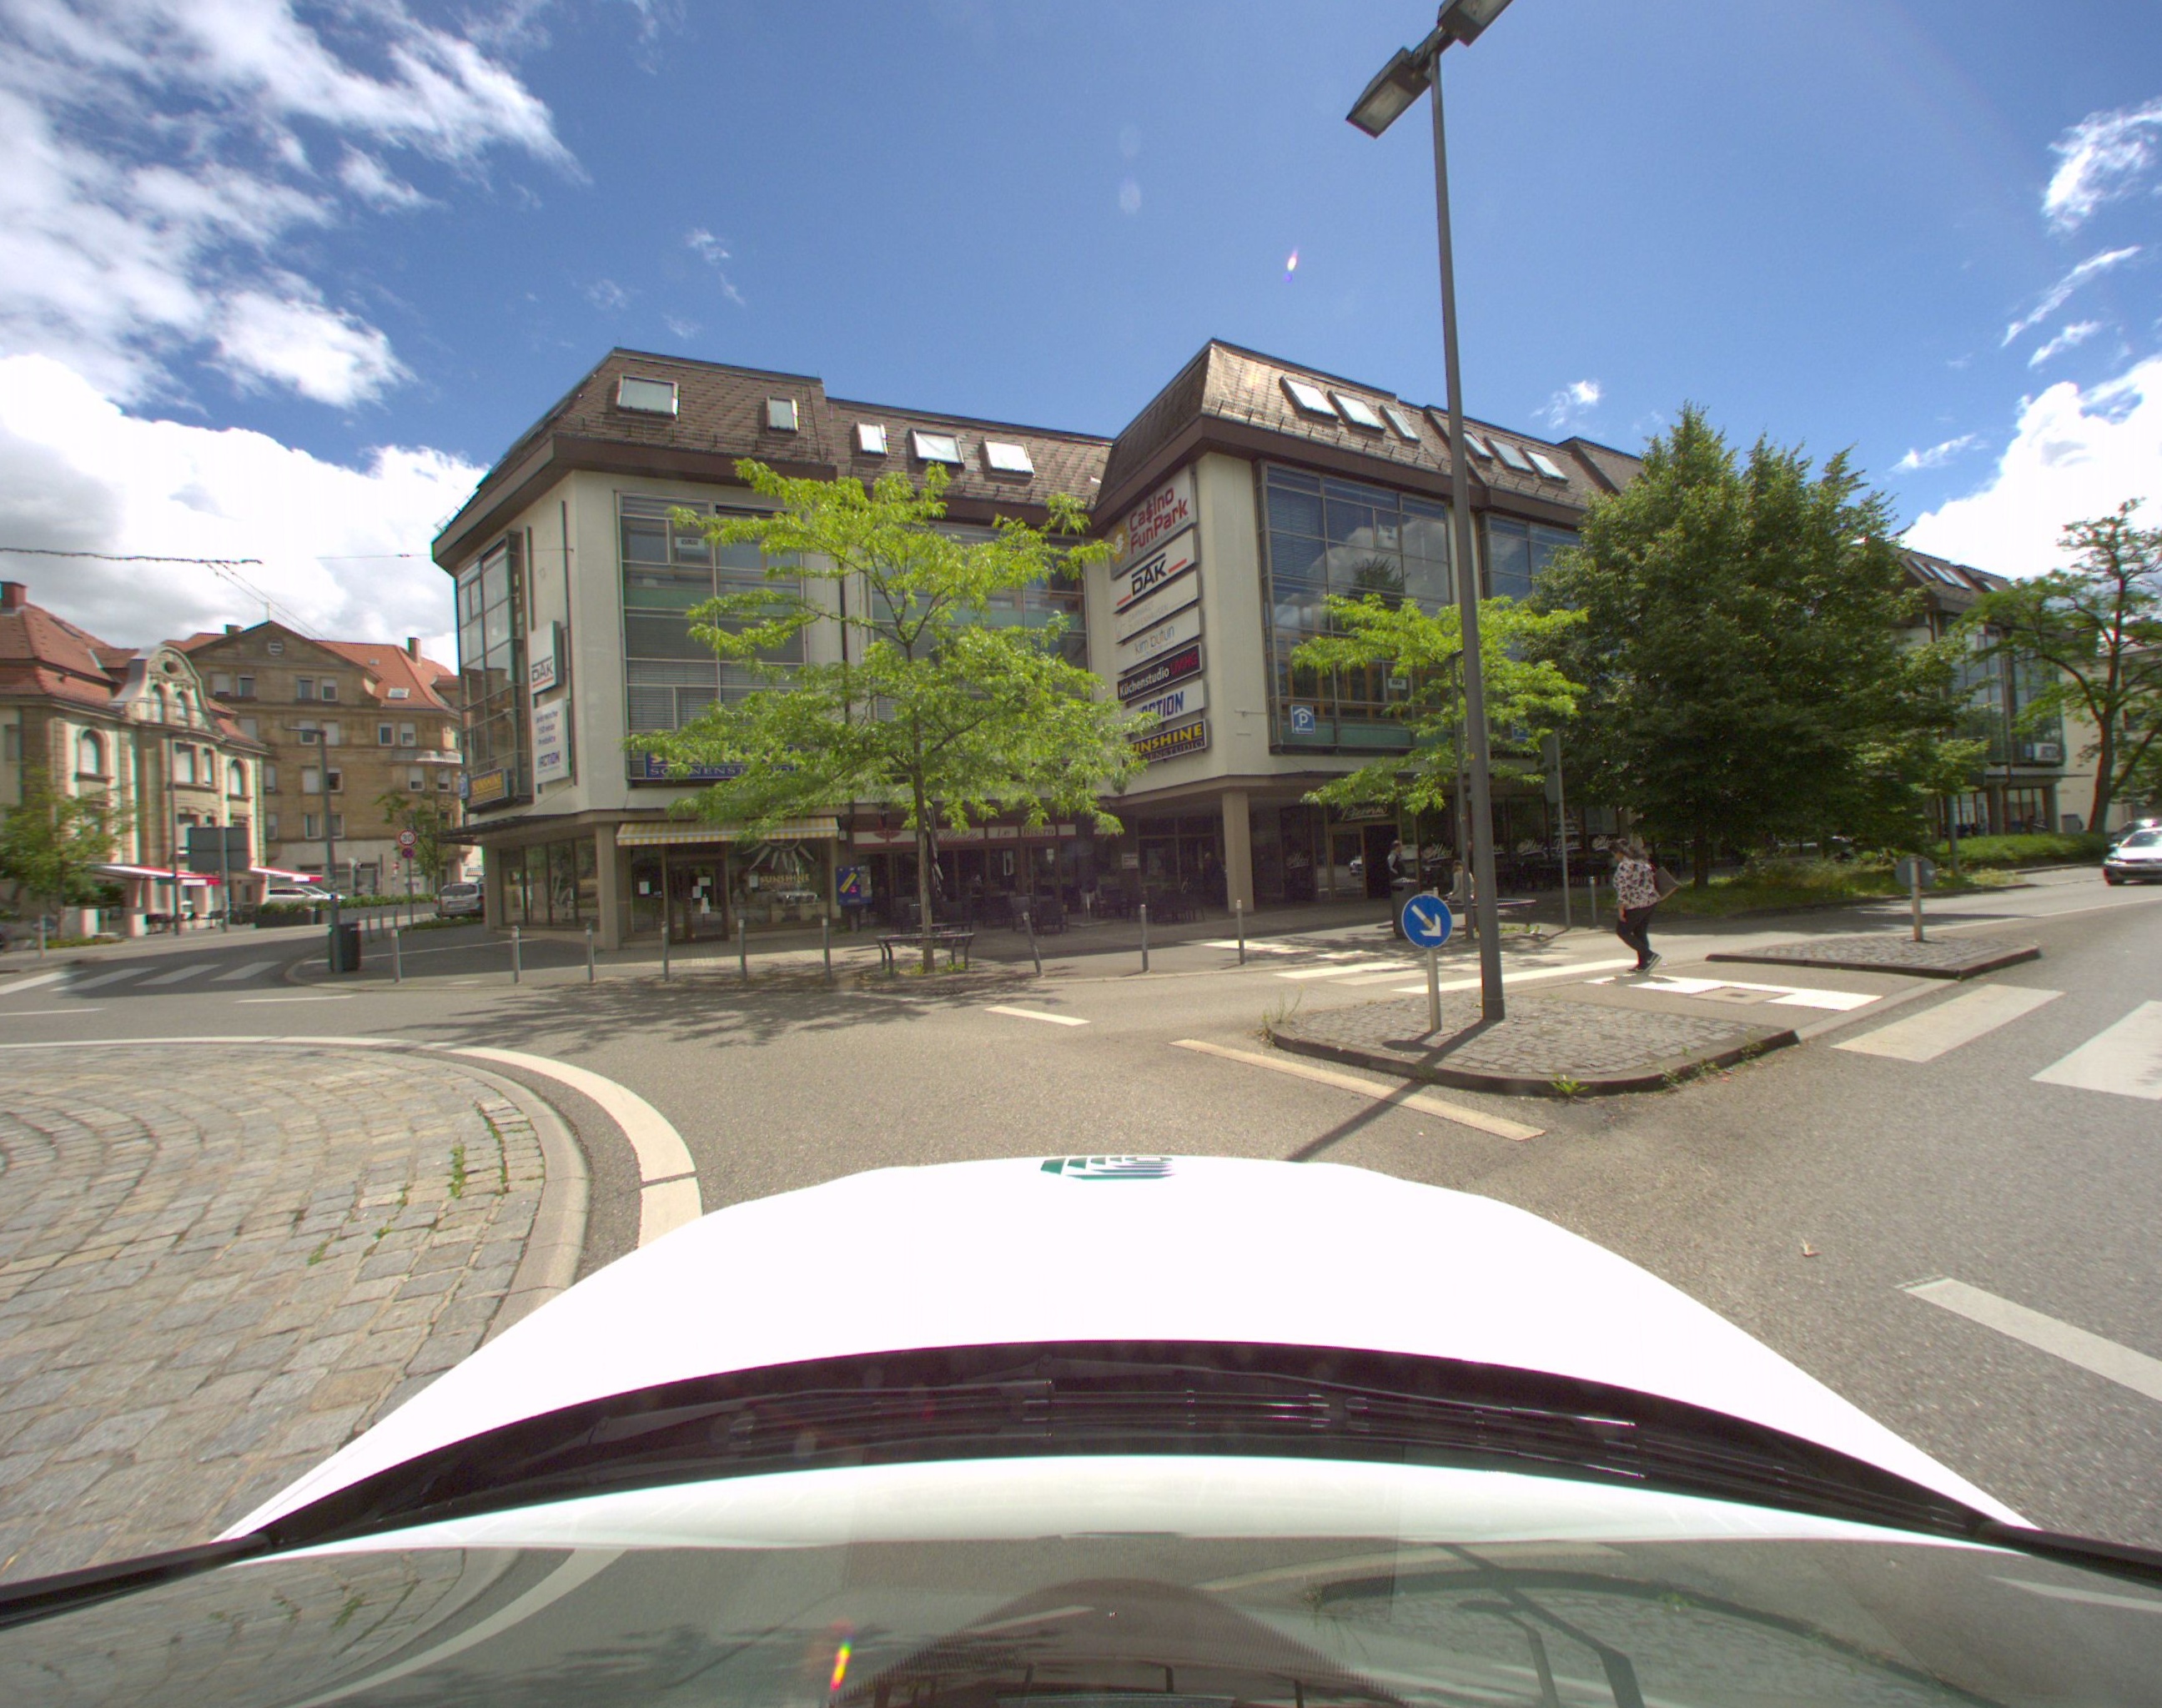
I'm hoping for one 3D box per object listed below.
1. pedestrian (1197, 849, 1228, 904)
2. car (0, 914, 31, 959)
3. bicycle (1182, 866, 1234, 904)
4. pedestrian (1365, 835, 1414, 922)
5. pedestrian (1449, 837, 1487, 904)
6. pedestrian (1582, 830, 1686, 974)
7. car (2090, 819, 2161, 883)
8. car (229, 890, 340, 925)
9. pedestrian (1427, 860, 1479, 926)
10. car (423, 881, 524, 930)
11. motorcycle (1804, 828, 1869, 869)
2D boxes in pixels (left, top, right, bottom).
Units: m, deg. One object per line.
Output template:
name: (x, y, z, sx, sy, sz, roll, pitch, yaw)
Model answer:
pedestrian: (4.154, 0.702, 25.713, 0.700, 1.674, 0.611, -2, -1, -29)
car: (-31.546, 2.414, 21.931, 1.713, 1.245, 4.386, -2, 0, -16)
bicycle: (4.005, 0.980, 25.734, 1.526, 1.168, 0.498, -2, -2, 15)
pedestrian: (6.708, 0.523, 17.712, 0.618, 1.819, 0.692, -3, 0, -23)
pedestrian: (9.906, 0.411, 20.847, 0.702, 1.674, 0.610, -1, -1, -41)
pedestrian: (6.284, 0.530, 9.305, 0.757, 1.554, 0.783, -2, -1, 19)
car: (27.998, -0.153, 20.755, 4.597, 1.508, 1.981, -2, -3, -29)
car: (-47.996, 3.208, 49.212, 4.450, 1.776, 1.979, -2, -1, -34)
pedestrian: (7.530, 0.774, 16.499, 0.617, 1.285, 0.694, -2, -1, -16)
car: (-25.323, 2.081, 34.153, 1.827, 1.731, 4.212, -4, 0, -14)
motorcycle: (25.644, -0.191, 27.635, 2.191, 1.291, 0.850, -3, -1, -26)
